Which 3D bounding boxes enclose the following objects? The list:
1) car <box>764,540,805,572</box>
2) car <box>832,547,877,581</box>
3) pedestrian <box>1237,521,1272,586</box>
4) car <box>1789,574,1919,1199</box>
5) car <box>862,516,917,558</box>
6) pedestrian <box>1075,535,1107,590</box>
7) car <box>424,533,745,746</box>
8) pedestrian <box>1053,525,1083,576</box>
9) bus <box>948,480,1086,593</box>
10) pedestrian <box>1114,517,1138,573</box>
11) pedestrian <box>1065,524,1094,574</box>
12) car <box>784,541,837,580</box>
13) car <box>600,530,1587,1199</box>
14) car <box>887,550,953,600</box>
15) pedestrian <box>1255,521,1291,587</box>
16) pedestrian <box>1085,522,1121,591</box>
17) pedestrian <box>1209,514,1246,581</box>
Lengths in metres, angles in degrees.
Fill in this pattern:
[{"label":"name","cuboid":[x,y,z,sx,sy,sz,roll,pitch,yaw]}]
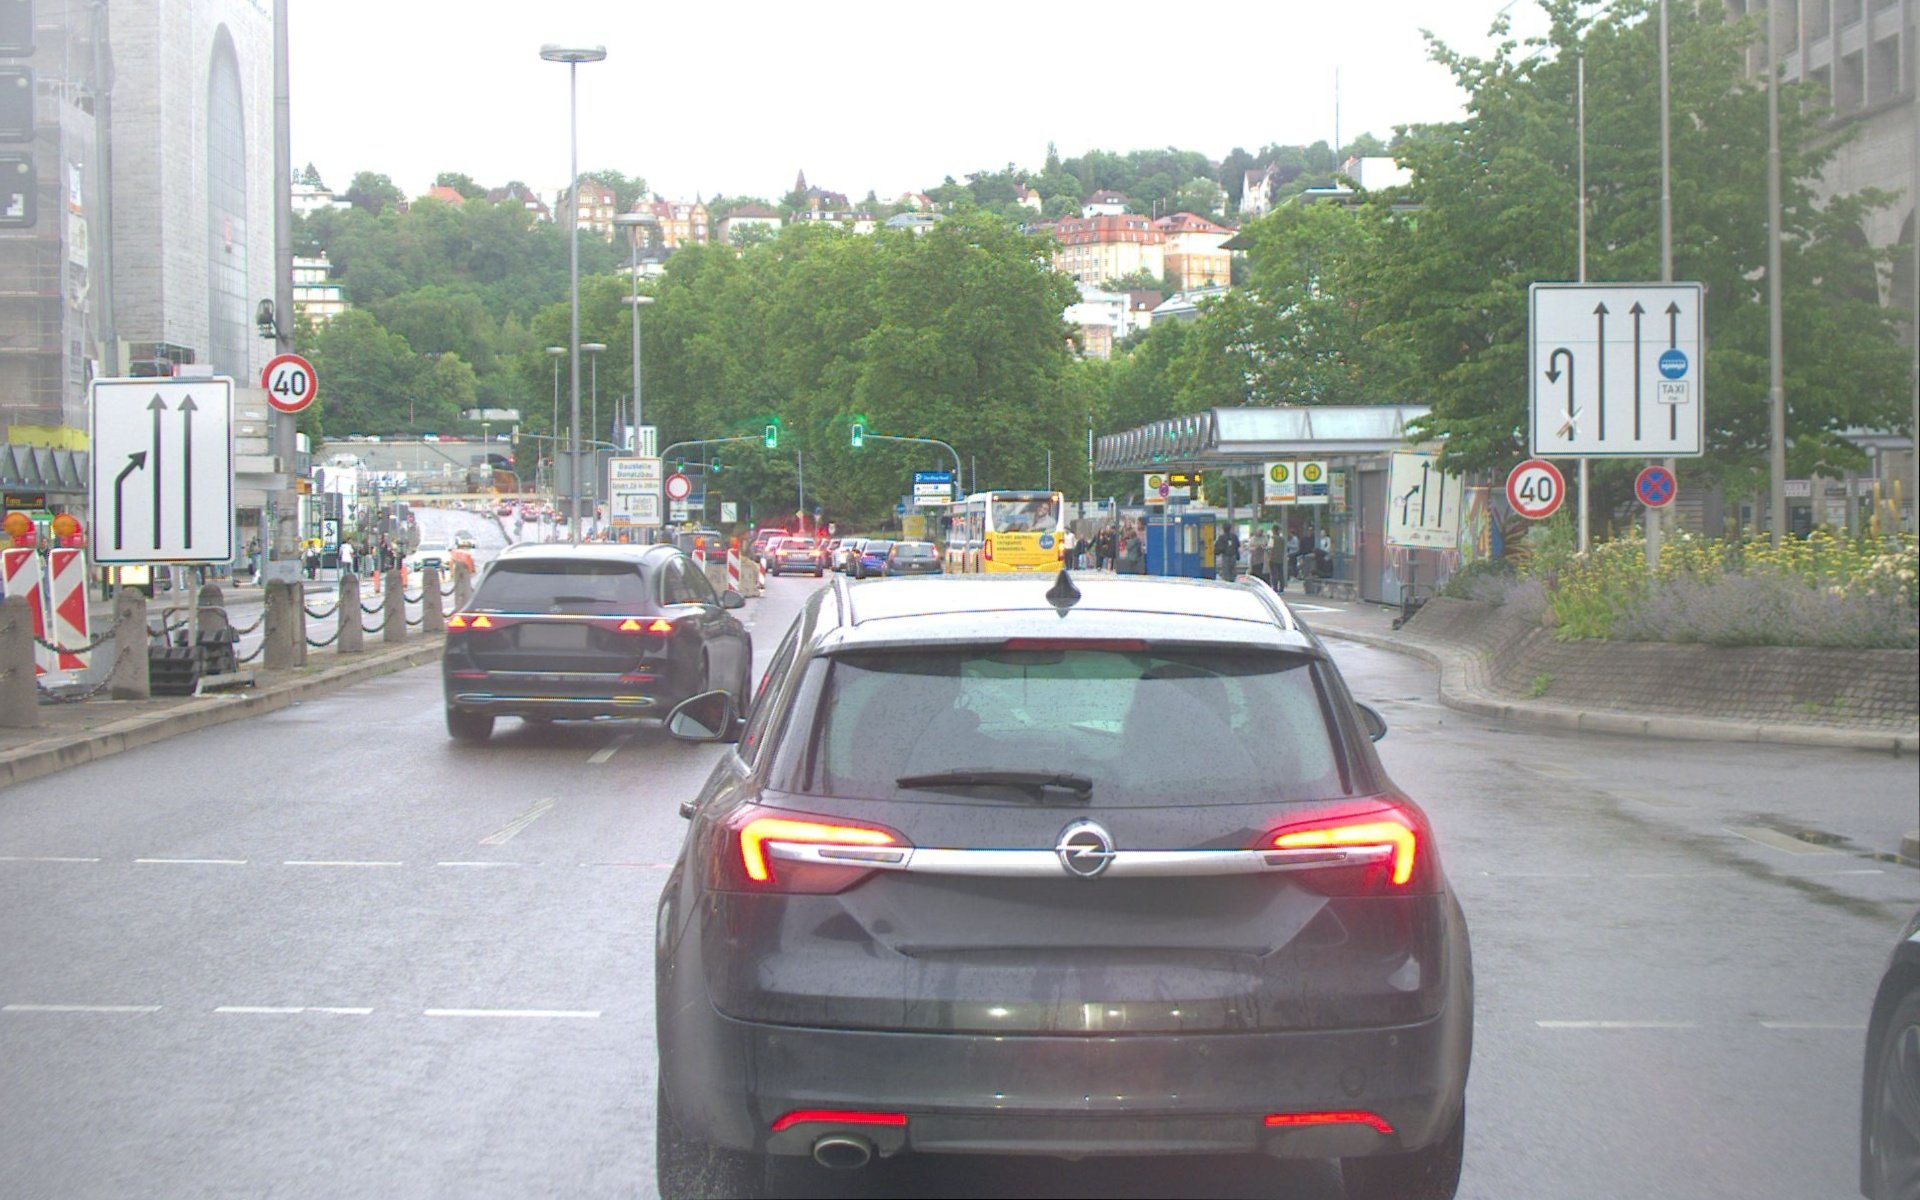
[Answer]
[{"label":"car","cuboid":[-8.141,-2.040,159.856,1.759,1.393,3.564,1,0,-1]},{"label":"car","cuboid":[-4.482,-1.546,146.368,1.845,1.393,3.564,1,1,-1]},{"label":"pedestrian","cuboid":[7.741,-1.210,90.305,0.763,1.684,0.825,1,0,-5]},{"label":"car","cuboid":[2.710,0.726,4.865,1.793,1.496,4.629,1,0,-2]},{"label":"car","cuboid":[-2.521,-2.230,121.789,1.753,1.393,4.649,1,0,-3]},{"label":"pedestrian","cuboid":[5.181,-1.474,136.445,1.199,2.141,1.228,1,0,1]},{"label":"car","cuboid":[-2.793,0.268,26.541,1.855,1.464,4.587,1,0,1]},{"label":"pedestrian","cuboid":[4.615,-2.099,146.909,1.199,2.141,1.228,1,0,1]},{"label":"bus","cuboid":[1.774,-2.035,115.697,4.173,3.457,14.654,1,0,-1]},{"label":"pedestrian","cuboid":[5.068,-1.684,104.796,0.657,1.684,0.609,1,0,0]},{"label":"pedestrian","cuboid":[5.274,-2.238,151.693,1.199,2.141,1.228,1,0,1]},{"label":"car","cuboid":[-5.526,-1.447,127.381,1.845,1.393,3.564,1,0,-1]},{"label":"car","cuboid":[0.217,0.616,8.617,1.874,1.481,4.000,1,0,-1]},{"label":"car","cuboid":[-1.146,-0.717,99.179,1.845,1.393,3.667,1,0,-1]},{"label":"pedestrian","cuboid":[8.123,-1.198,89.242,0.763,1.684,0.825,1,0,-5]},{"label":"pedestrian","cuboid":[5.107,-1.564,123.014,1.199,2.427,1.228,1,0,1]},{"label":"pedestrian","cuboid":[6.799,-1.328,87.432,0.763,1.684,0.825,1,0,-5]}]
